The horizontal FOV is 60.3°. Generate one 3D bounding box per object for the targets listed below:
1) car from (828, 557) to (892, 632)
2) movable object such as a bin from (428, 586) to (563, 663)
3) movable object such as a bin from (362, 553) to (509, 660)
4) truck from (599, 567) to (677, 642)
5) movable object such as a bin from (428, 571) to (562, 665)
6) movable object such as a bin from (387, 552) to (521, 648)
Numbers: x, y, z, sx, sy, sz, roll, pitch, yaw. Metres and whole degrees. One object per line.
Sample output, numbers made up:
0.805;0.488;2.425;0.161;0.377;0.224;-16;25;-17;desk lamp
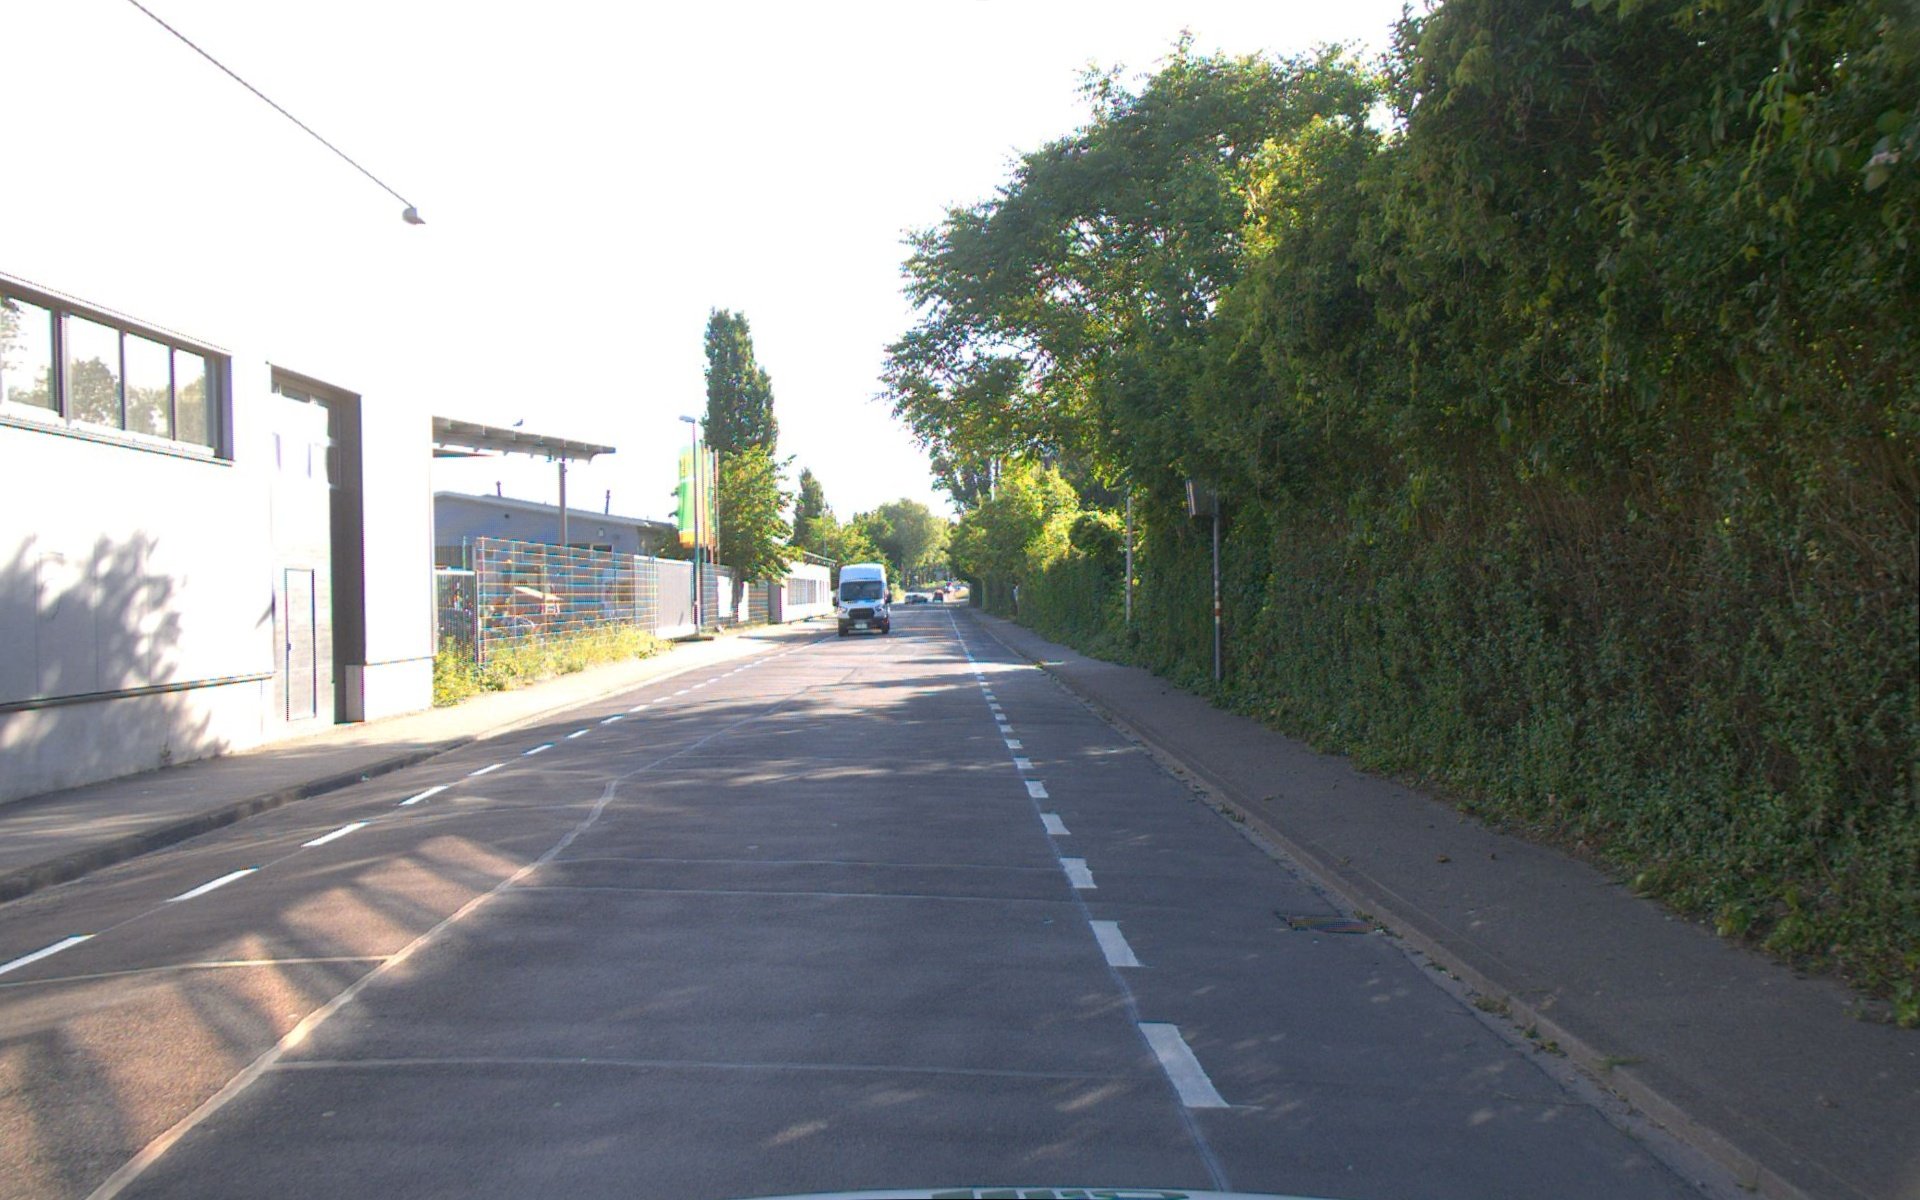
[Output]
-4.002;-0.205;67.198;2.079;2.829;5.926;-3;0;0;car
-11.661;0.605;41.631;2.978;1.867;1.525;-1;0;-3;movable object such as a bin
-11.142;0.127;35.141;2.711;2.203;1.521;0;0;29;movable object such as a bin
-12.663;0.143;65.375;2.036;2.810;5.763;-1;0;-1;truck
-11.174;0.413;39.746;2.824;2.186;1.498;0;0;26;movable object such as a bin
-11.678;-0.003;38.173;2.736;2.163;1.384;0;0;24;movable object such as a bin
